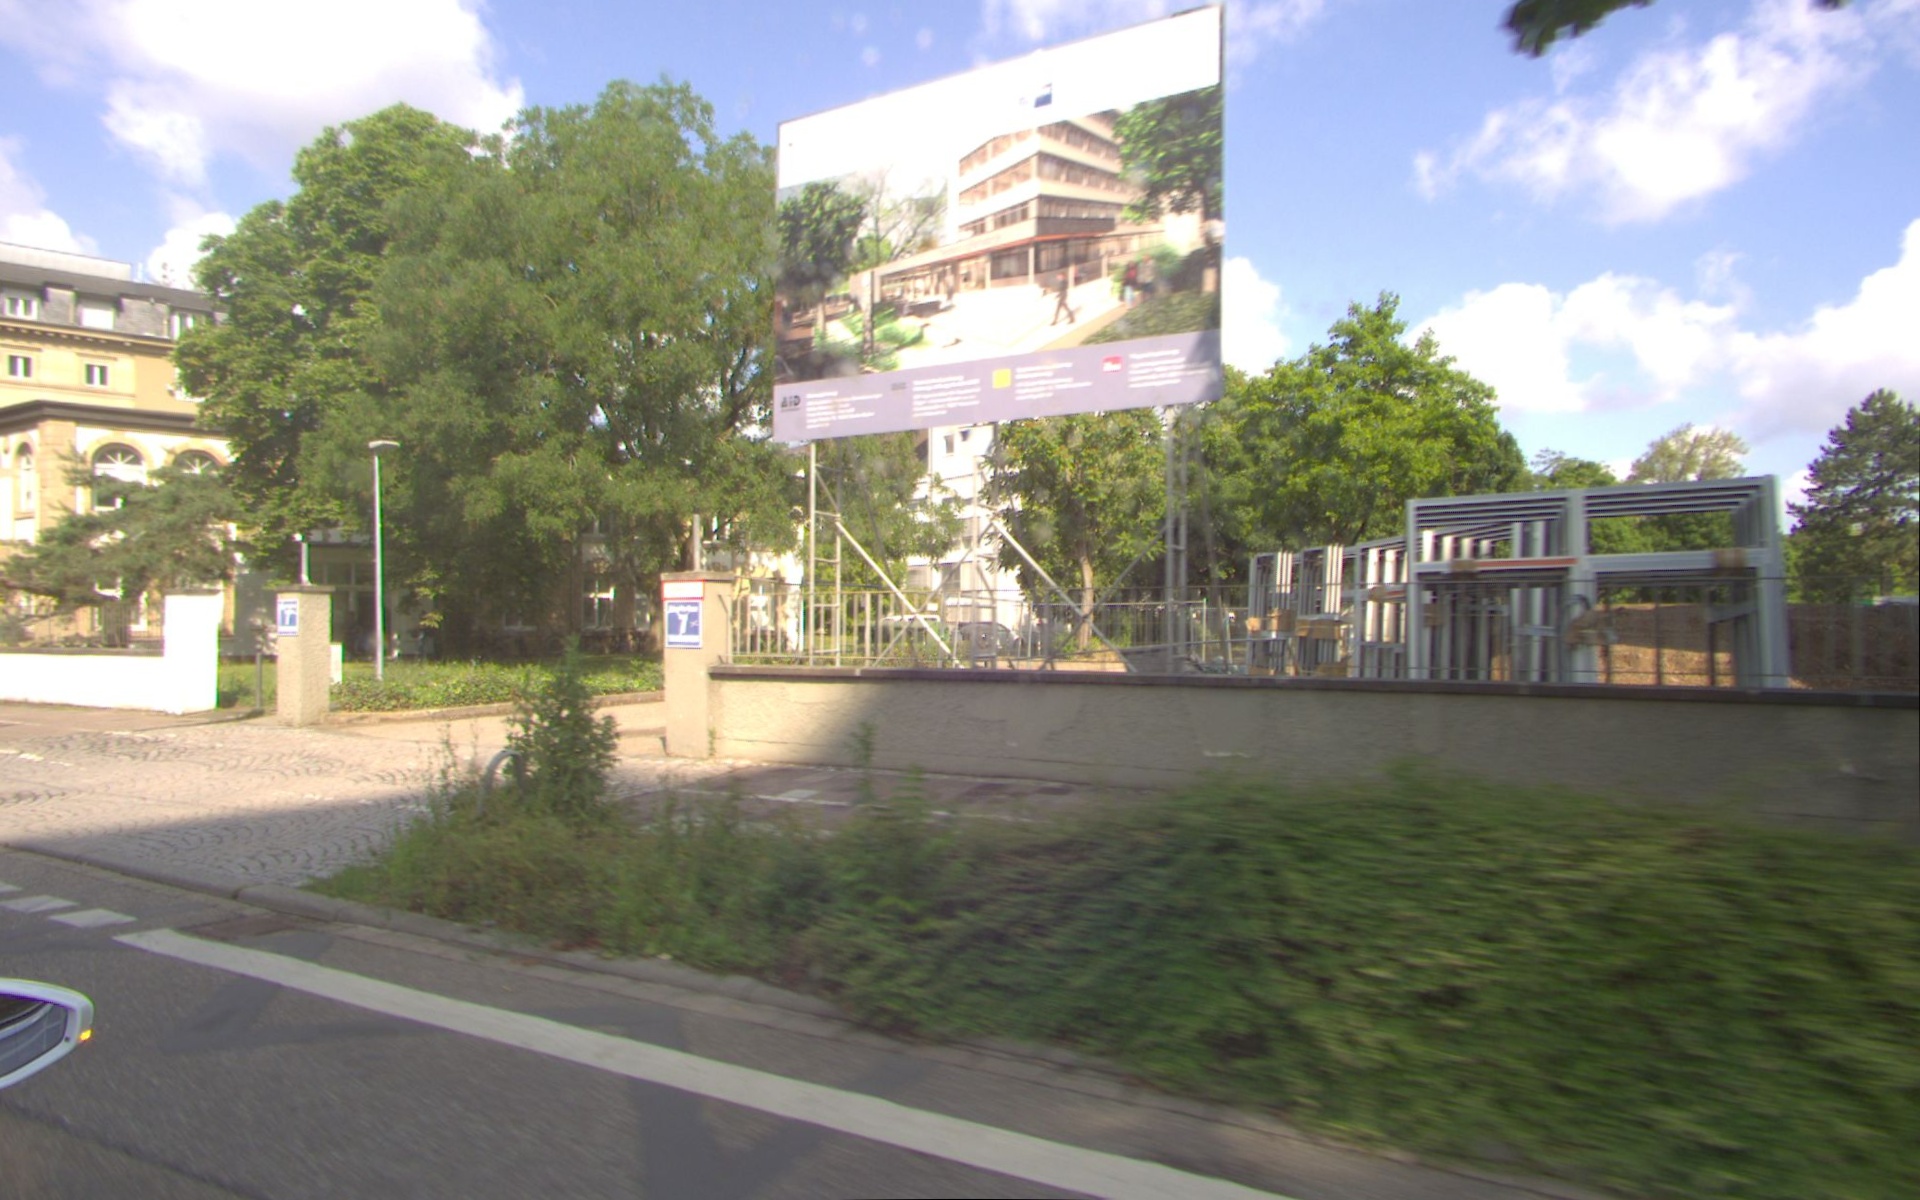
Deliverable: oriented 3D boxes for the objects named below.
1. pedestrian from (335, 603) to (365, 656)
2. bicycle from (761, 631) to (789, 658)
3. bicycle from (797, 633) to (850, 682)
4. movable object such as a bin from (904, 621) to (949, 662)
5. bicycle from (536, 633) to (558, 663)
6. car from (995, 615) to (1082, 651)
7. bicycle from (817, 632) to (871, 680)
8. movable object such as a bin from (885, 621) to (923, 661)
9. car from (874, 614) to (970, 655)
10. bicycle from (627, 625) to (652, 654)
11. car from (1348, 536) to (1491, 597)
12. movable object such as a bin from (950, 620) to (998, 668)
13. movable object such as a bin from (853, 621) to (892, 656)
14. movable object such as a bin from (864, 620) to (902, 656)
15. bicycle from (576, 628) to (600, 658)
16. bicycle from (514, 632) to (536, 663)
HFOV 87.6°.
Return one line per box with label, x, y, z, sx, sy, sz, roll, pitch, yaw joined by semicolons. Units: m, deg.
pedestrian;-19.822;0.964;32.533;0.763;1.699;0.803;1;-1;-36
bicycle;-7.830;1.867;42.354;0.414;1.070;2.056;-4;1;-31
bicycle;-3.262;1.335;23.738;0.414;1.070;2.056;-4;1;-31
movable object such as a bin;-1.230;1.513;36.778;1.091;1.470;1.331;1;-1;-41
bicycle;-15.308;1.766;37.092;0.414;1.070;2.056;-4;1;-31
car;3.725;1.540;47.103;3.866;1.438;1.747;-2;0;-36
bicycle;-2.806;1.322;24.104;0.414;1.070;2.056;-4;1;-31
movable object such as a bin;-2.127;1.534;37.697;0.871;1.470;1.223;1;-1;-41
car;-2.042;1.887;54.859;4.889;1.989;1.989;-1;-3;-34
bicycle;-12.464;1.531;38.921;0.414;1.070;2.056;-4;1;-31
car;25.143;-1.766;54.969;6.891;3.088;1.985;0;1;40
movable object such as a bin;0.450;1.444;33.003;1.227;1.502;1.293;1;2;-15
movable object such as a bin;-3.512;1.525;40.070;0.937;1.366;1.369;1;-1;-42
movable object such as a bin;-2.969;1.466;38.678;0.937;1.366;1.223;1;-1;-42
bicycle;-14.028;1.612;37.752;0.414;1.070;2.056;-4;1;-31
bicycle;-15.867;1.725;36.530;0.414;1.070;2.056;-4;1;-31
